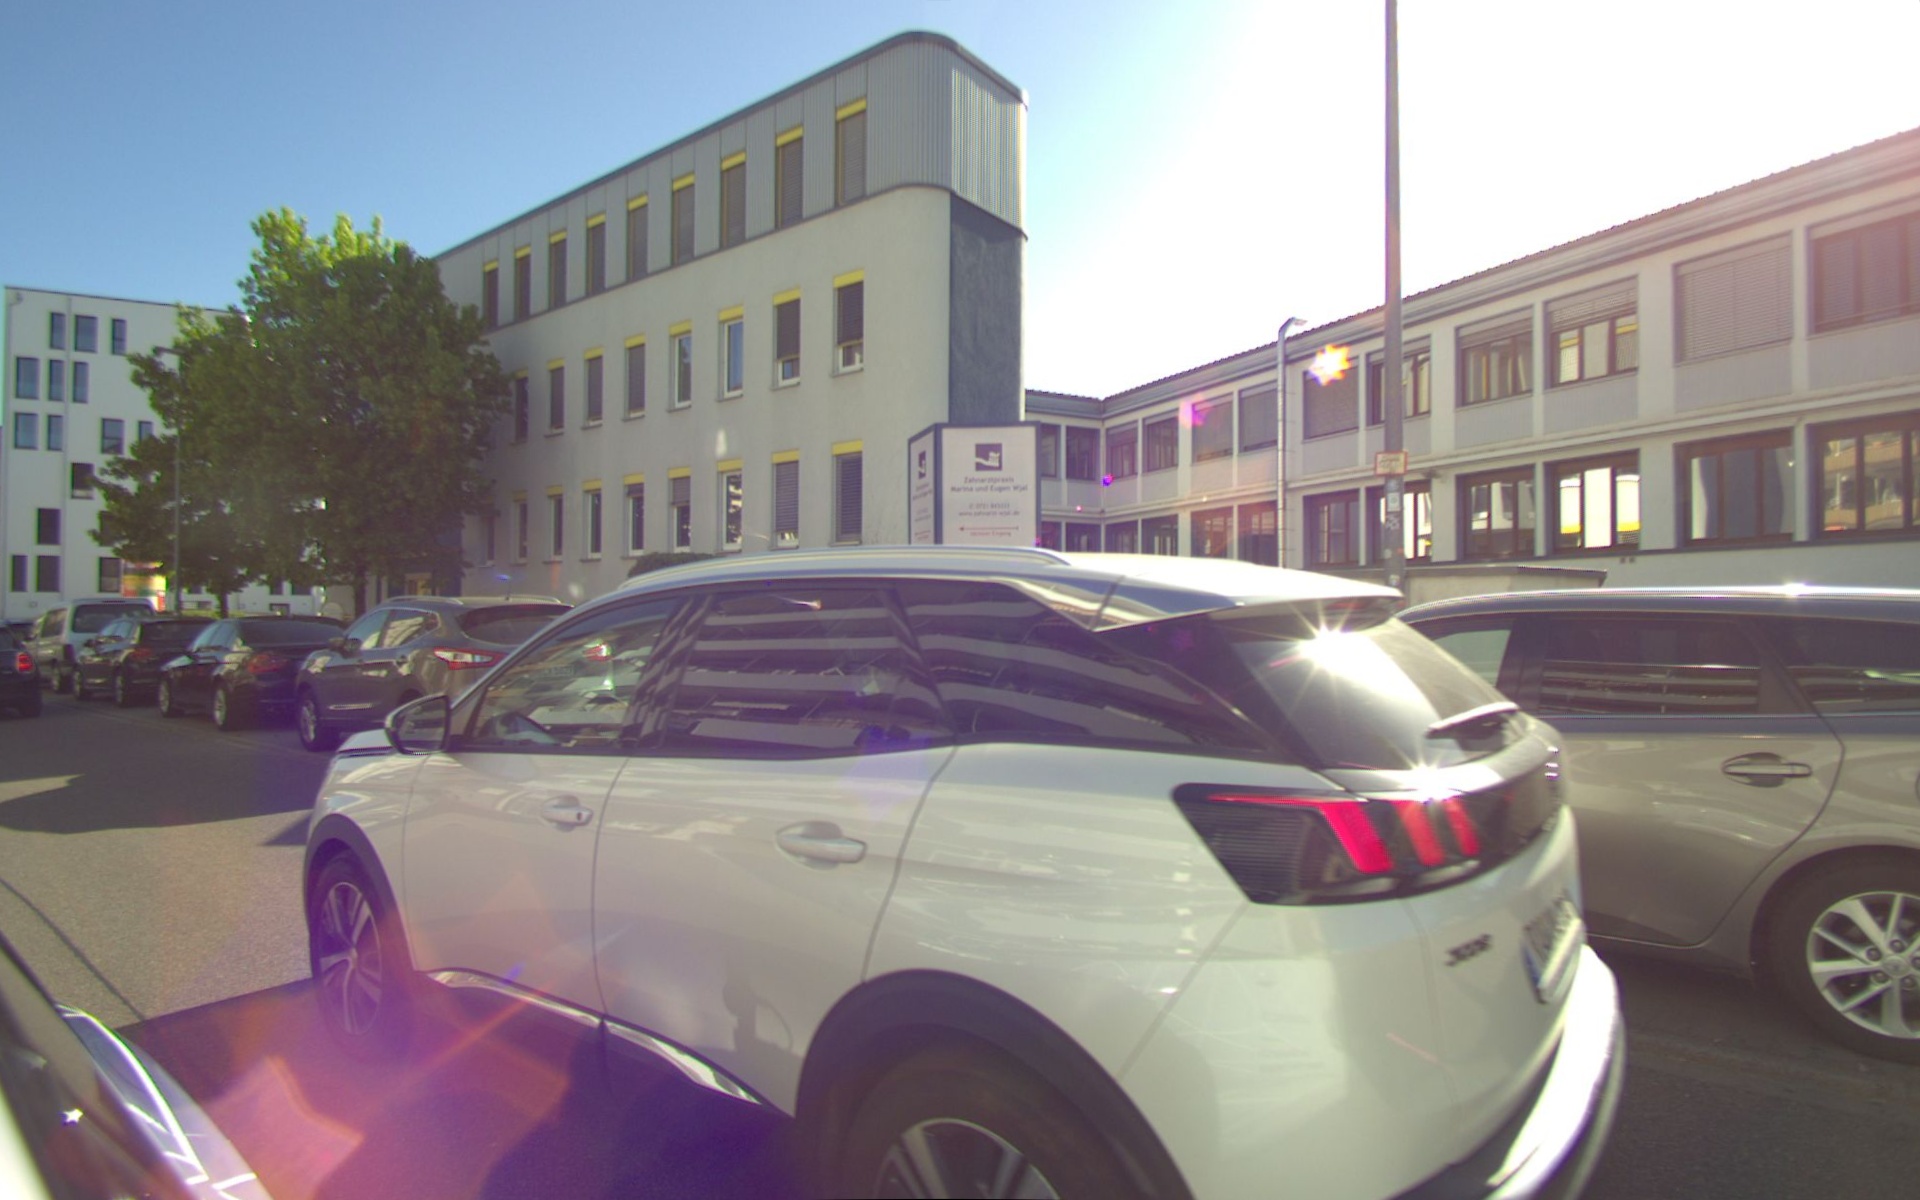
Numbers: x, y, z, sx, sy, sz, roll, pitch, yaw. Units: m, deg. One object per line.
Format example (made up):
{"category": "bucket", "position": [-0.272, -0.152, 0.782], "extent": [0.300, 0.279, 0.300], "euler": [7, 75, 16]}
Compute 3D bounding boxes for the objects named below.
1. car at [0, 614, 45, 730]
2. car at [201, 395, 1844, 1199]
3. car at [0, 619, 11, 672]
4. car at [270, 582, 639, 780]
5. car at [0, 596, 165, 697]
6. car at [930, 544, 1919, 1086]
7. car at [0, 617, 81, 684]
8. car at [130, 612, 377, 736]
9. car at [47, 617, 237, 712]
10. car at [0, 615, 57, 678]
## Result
{"category": "car", "position": [-15.386, 1.035, 15.276], "extent": [3.725, 1.524, 1.724], "euler": [3, 1, 38]}
{"category": "car", "position": [-0.366, 0.634, 3.013], "extent": [4.330, 1.737, 1.901], "euler": [2, 0, 37]}
{"category": "car", "position": [-29.691, 1.312, 29.739], "extent": [4.372, 1.490, 1.891], "euler": [0, -1, 36]}
{"category": "car", "position": [-5.257, 0.699, 10.260], "extent": [4.417, 1.598, 1.702], "euler": [-1, -1, 39]}
{"category": "car", "position": [-17.891, 0.905, 20.519], "extent": [4.332, 1.853, 1.672], "euler": [-1, -1, 36]}
{"category": "car", "position": [2.390, 0.649, 4.411], "extent": [4.910, 1.546, 1.975], "euler": [-1, -2, 37]}
{"category": "car", "position": [-22.212, 1.129, 23.712], "extent": [4.607, 1.450, 1.715], "euler": [-1, -1, 40]}
{"category": "car", "position": [-9.950, 0.932, 14.125], "extent": [4.435, 1.476, 1.709], "euler": [-1, -1, 39]}
{"category": "car", "position": [-14.192, 1.031, 17.499], "extent": [3.992, 1.451, 1.584], "euler": [-1, -1, 36]}
{"category": "car", "position": [-25.785, 1.177, 26.792], "extent": [4.616, 1.541, 1.891], "euler": [0, -1, 37]}
